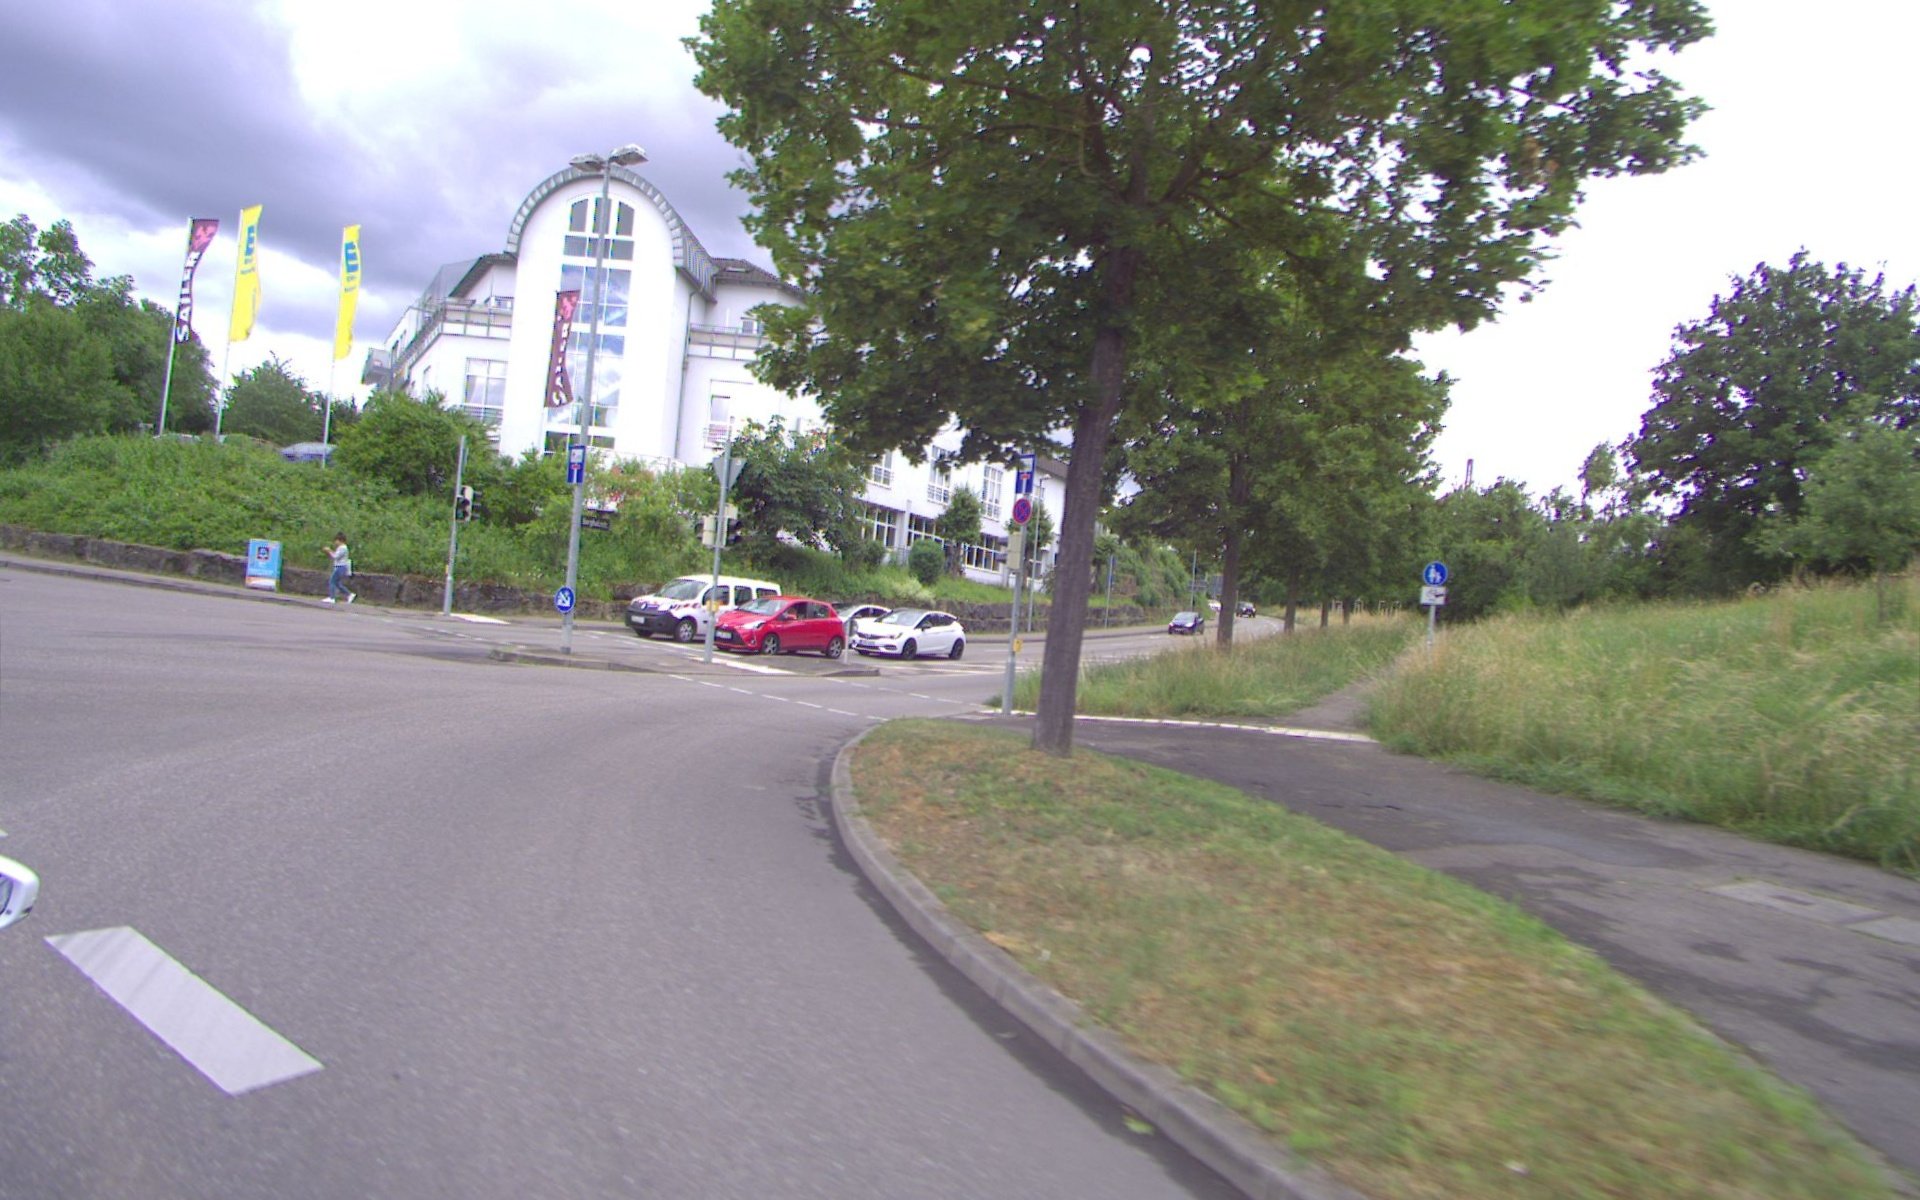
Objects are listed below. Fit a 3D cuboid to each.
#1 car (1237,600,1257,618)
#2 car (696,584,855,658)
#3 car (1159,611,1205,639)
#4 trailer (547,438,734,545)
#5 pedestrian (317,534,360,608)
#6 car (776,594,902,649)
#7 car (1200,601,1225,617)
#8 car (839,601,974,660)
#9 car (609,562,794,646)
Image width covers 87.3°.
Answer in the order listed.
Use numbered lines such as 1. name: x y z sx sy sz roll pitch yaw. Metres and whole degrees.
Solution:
1. car: 32.389 1.031 113.549 1.787 1.834 4.560 5 2 12
2. car: -4.601 0.581 25.562 1.731 1.515 3.823 6 0 33
3. car: 13.861 1.523 62.716 1.729 1.475 3.822 6 3 27
4. trailer: -12.791 -4.320 40.624 6.373 3.090 2.473 8 -2 1
5. pedestrian: -14.487 -0.668 23.445 0.619 1.627 0.574 8 -1 -38
6. car: -3.798 0.729 32.241 1.934 1.474 3.821 6 1 33
7. car: 33.031 1.166 131.826 1.788 1.835 4.555 1 2 -4
8. car: -1.509 0.941 30.053 1.731 1.474 4.300 6 1 33
9. car: -6.930 0.175 27.458 1.920 1.822 4.711 6 0 33
